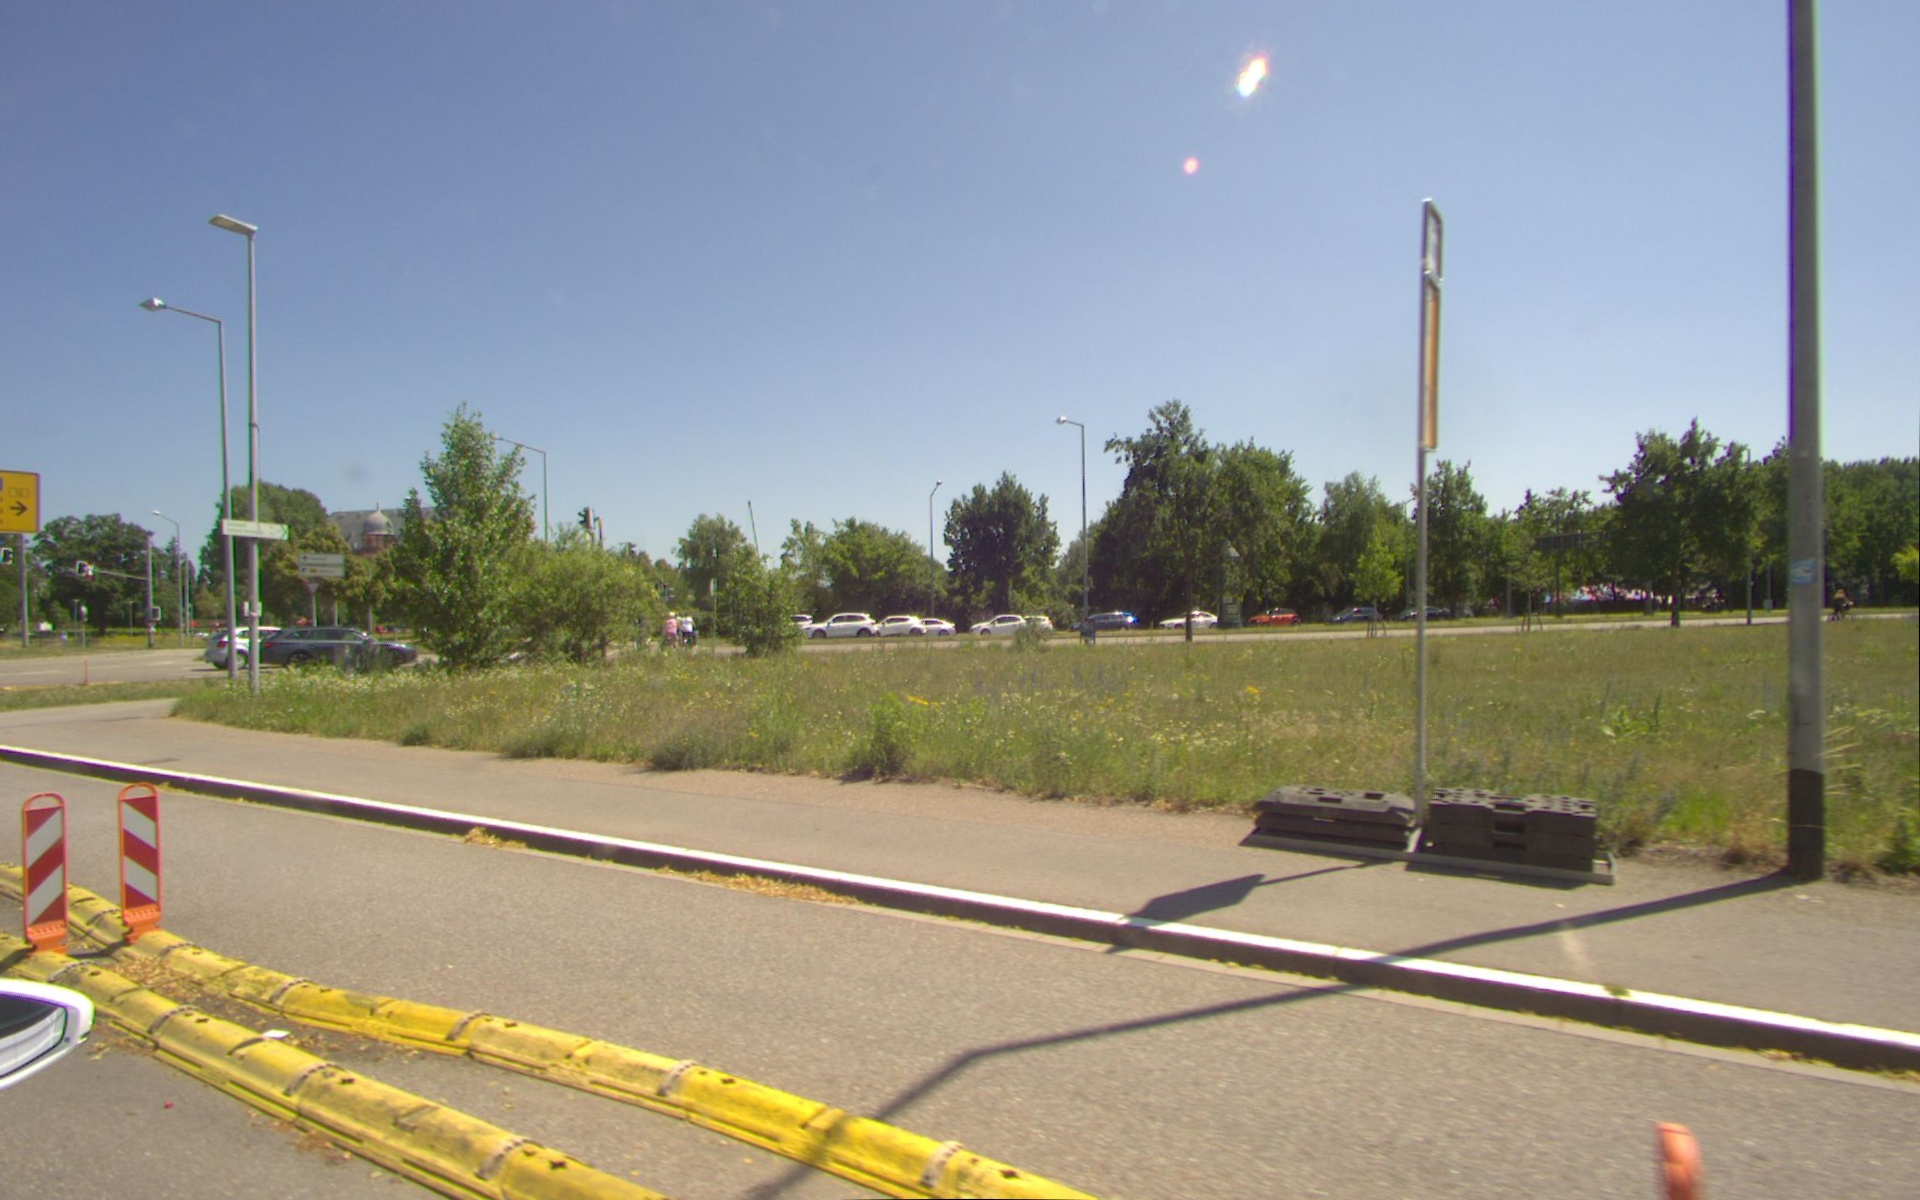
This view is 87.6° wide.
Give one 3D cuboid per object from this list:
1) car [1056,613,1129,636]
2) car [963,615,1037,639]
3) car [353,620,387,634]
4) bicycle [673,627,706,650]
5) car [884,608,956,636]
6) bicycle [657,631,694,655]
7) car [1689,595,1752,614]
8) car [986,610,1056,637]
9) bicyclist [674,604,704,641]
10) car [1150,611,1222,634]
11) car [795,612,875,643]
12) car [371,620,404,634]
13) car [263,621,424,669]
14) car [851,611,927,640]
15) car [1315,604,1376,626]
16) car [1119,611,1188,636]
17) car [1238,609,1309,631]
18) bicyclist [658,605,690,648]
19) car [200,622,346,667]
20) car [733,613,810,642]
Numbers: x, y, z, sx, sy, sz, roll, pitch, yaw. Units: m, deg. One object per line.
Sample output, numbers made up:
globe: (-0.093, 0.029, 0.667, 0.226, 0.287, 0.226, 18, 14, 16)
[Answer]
car: (8.611, 1.594, 64.967, 4.329, 1.441, 1.862, 0, 0, -16)
car: (2.510, 1.669, 63.364, 4.329, 1.441, 1.862, 0, 0, -16)
car: (-86.425, 3.927, 146.614, 3.931, 2.039, 1.996, 0, -2, -19)
bicycle: (-11.875, 1.665, 43.987, 0.881, 0.912, 1.762, 1, 1, 4)
car: (-2.617, 1.405, 64.848, 4.329, 1.705, 1.862, 0, 0, -16)
bicycle: (-11.256, 1.696, 39.677, 0.881, 0.912, 2.227, 1, -2, -2)
car: (61.599, 0.381, 81.149, 4.329, 1.441, 1.862, 0, 0, -16)
car: (4.069, 1.573, 66.935, 4.329, 1.705, 1.862, 0, 0, -16)
bicyclist: (-11.900, 0.982, 43.975, 0.941, 1.552, 1.185, -1, 1, 3)
car: (15.125, 1.506, 67.034, 4.329, 1.441, 1.862, 0, 0, -16)
car: (-7.170, 1.567, 57.444, 4.329, 1.705, 1.862, 0, 0, -16)
car: (-85.610, 4.049, 149.832, 3.931, 2.039, 1.996, 0, -2, -19)
car: (-20.802, 1.456, 33.862, 4.405, 1.437, 1.983, 0, 0, -40)
car: (-4.359, 1.540, 61.334, 4.329, 1.705, 1.862, 0, 0, -16)
car: (27.030, 1.045, 70.305, 3.730, 1.493, 1.718, 0, -2, -17)
car: (13.497, 1.613, 69.831, 4.329, 1.705, 1.862, 0, 0, -16)
car: (21.594, 1.367, 68.949, 4.329, 1.441, 1.862, 0, 0, -16)
bicyclist: (-11.295, 1.052, 39.543, 0.941, 1.630, 1.186, -1, -1, -2)
car: (-24.280, 1.534, 35.480, 1.762, 1.441, 3.967, -1, 0, 41)
car: (-11.112, 1.603, 59.019, 4.329, 1.639, 1.862, 0, 0, -16)
